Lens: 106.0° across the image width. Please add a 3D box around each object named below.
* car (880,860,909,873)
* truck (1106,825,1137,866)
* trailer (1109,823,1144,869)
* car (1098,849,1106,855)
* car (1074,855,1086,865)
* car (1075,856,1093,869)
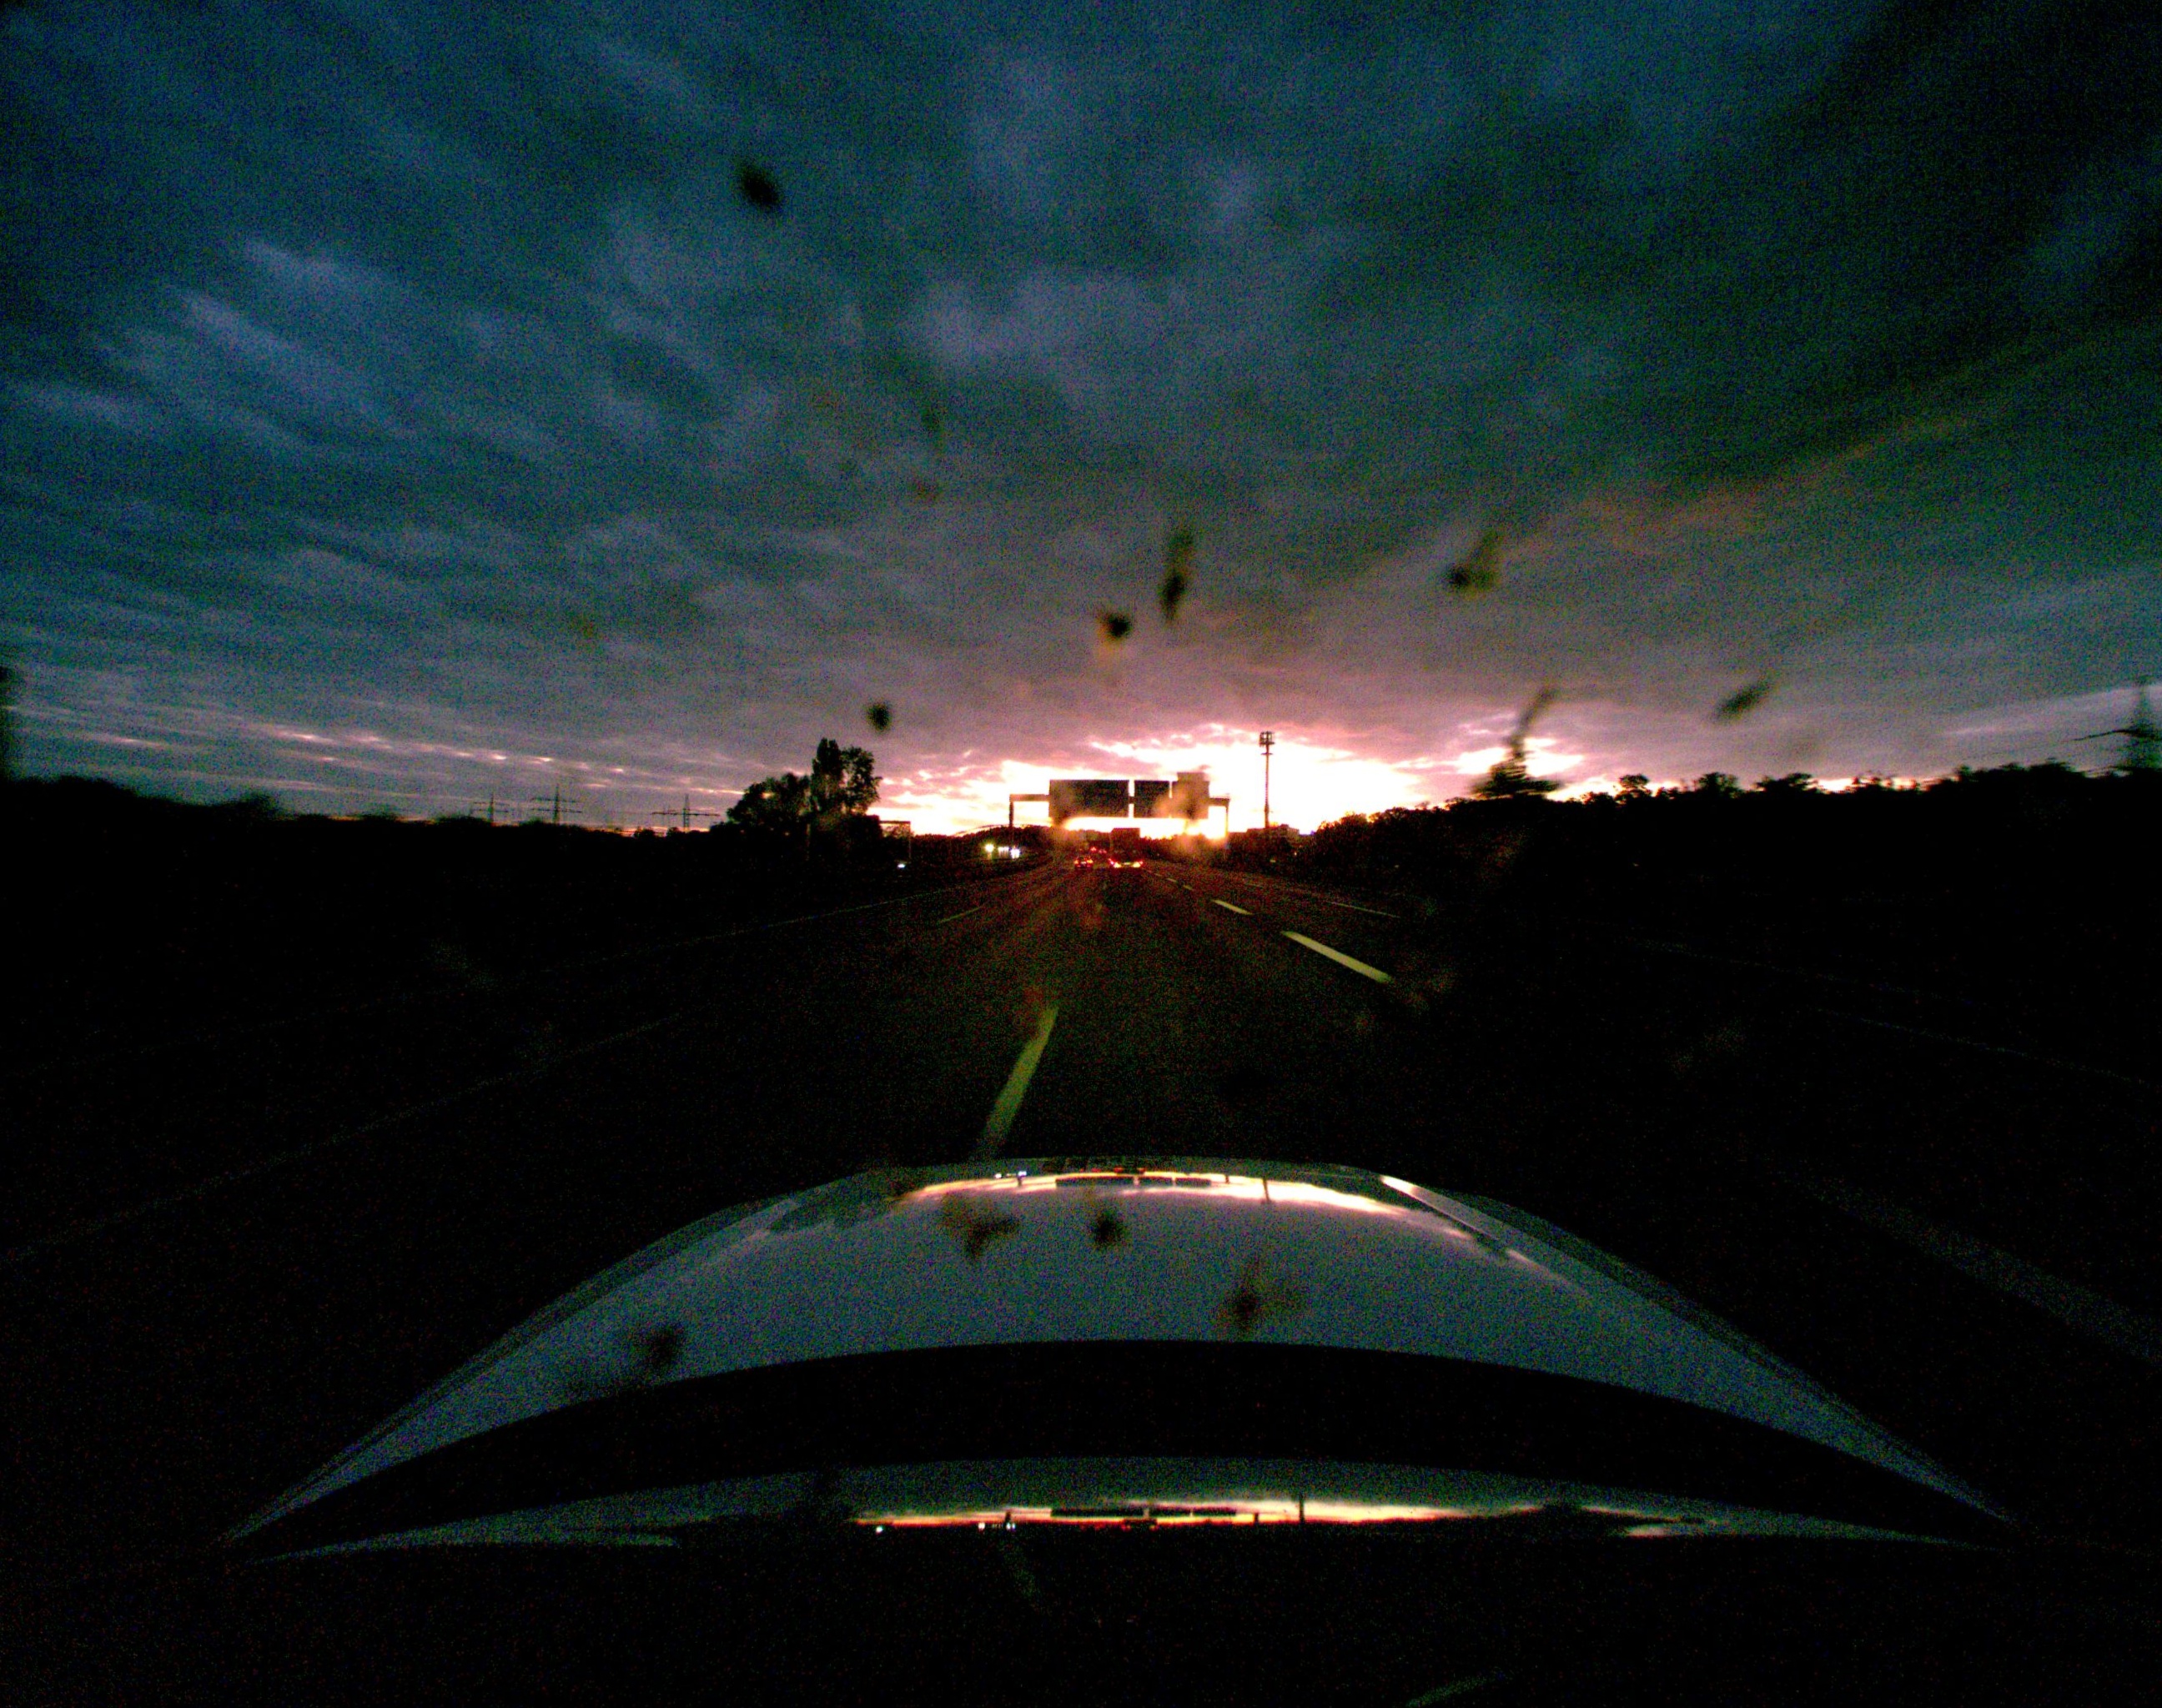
[{"bbox_3d":[-20.088,1.335,87.821,1.987,1.404,4.330,0,0,1],"label":"car"},{"bbox_3d":[4.168,-0.880,86.510,2.682,4.071,10.517,-1,1,0],"label":"truck"},{"bbox_3d":[4.237,-0.770,76.857,2.713,4.071,8.829,-1,1,0],"label":"trailer"},{"bbox_3d":[6.141,-0.489,239.591,1.989,1.717,3.994,0,-1,-4],"label":"car"},{"bbox_3d":[-0.117,0.965,131.488,1.682,1.401,3.412,-1,-1,4],"label":"car"},{"bbox_3d":[0.282,0.888,84.925,1.685,1.401,3.405,-1,-1,-2],"label":"car"}]
